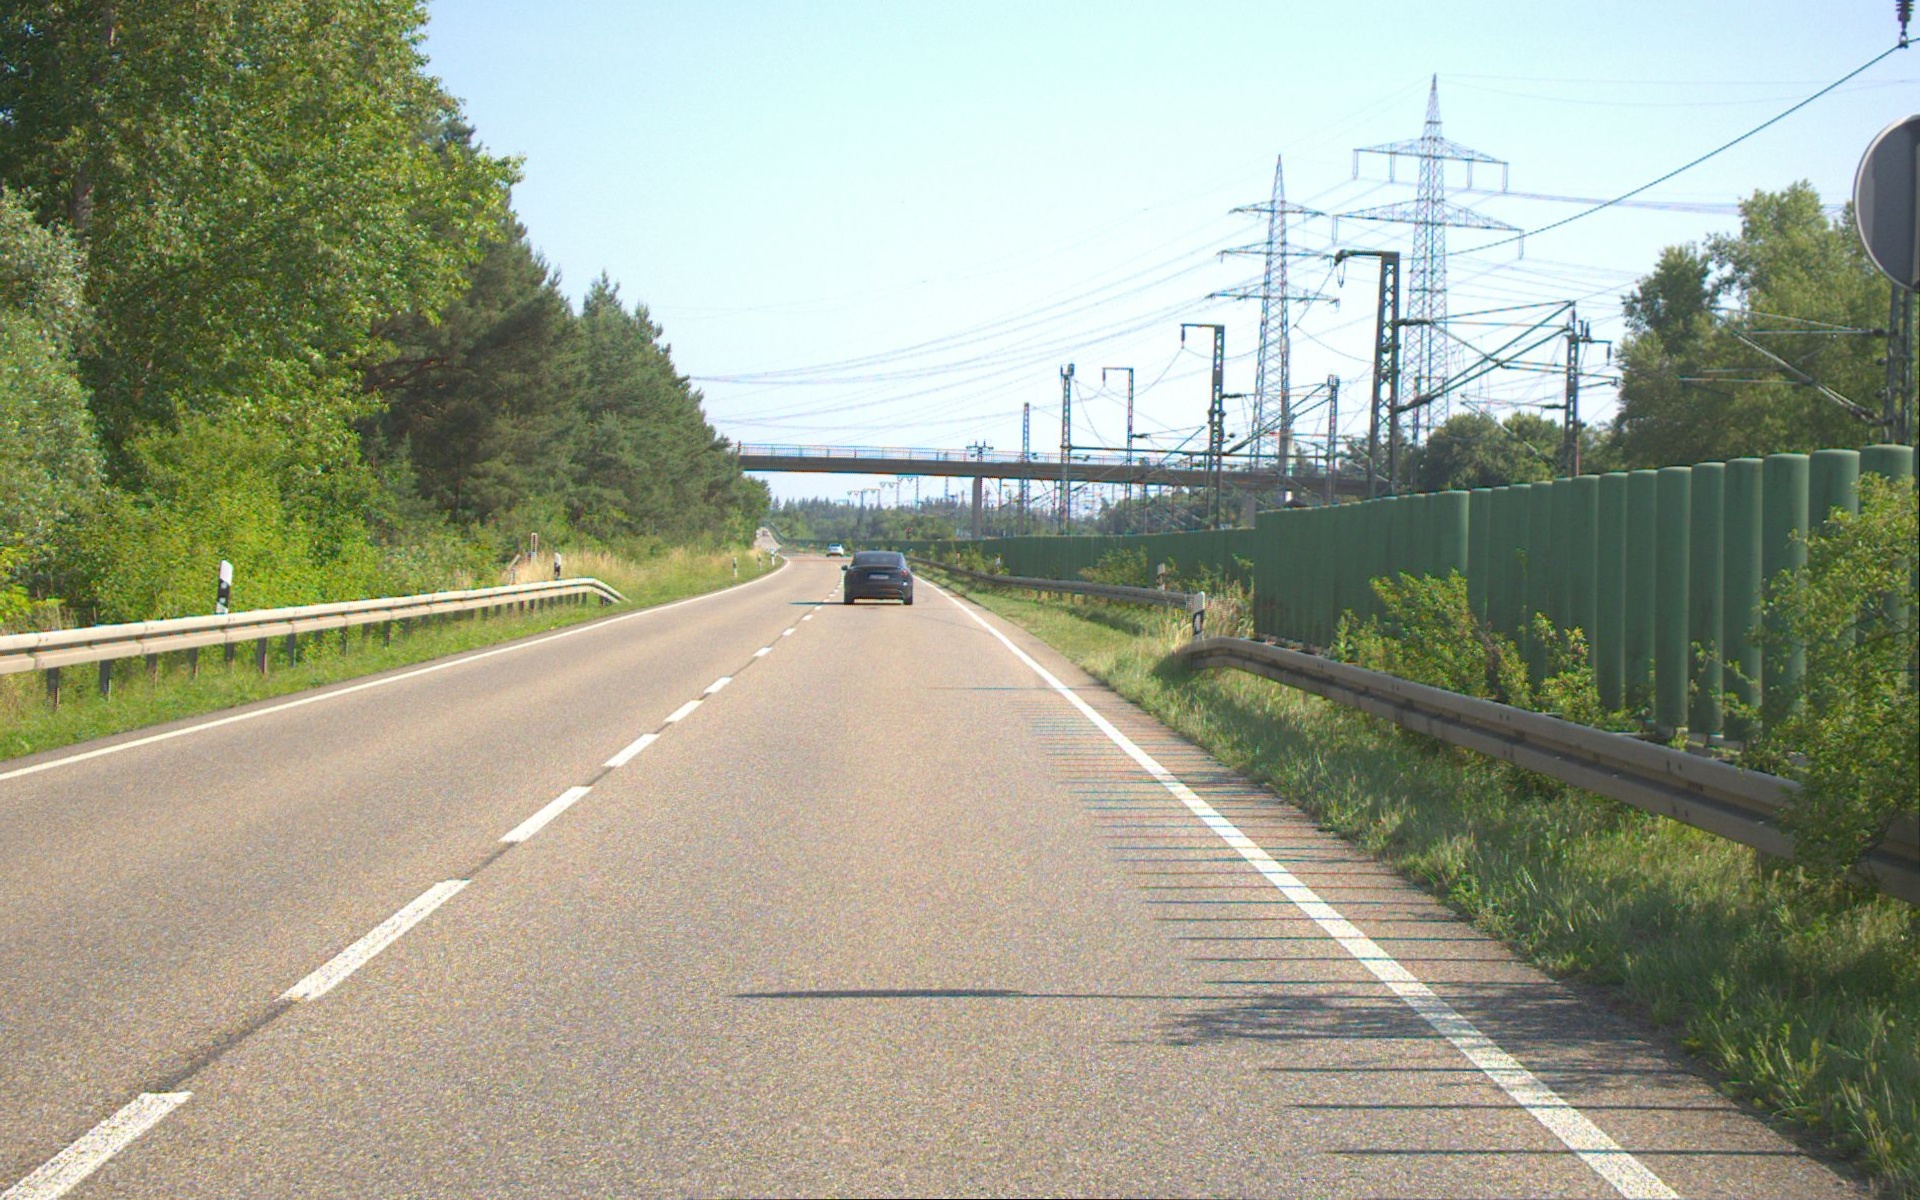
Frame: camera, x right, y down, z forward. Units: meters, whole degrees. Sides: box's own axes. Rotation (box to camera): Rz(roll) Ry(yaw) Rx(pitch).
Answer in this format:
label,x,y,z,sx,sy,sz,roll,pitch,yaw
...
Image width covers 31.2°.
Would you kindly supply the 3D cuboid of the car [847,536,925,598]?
label,x,y,z,sx,sy,sz,roll,pitch,yaw
car,-2.025,-0.907,92.732,1.858,1.636,4.001,0,1,-4
